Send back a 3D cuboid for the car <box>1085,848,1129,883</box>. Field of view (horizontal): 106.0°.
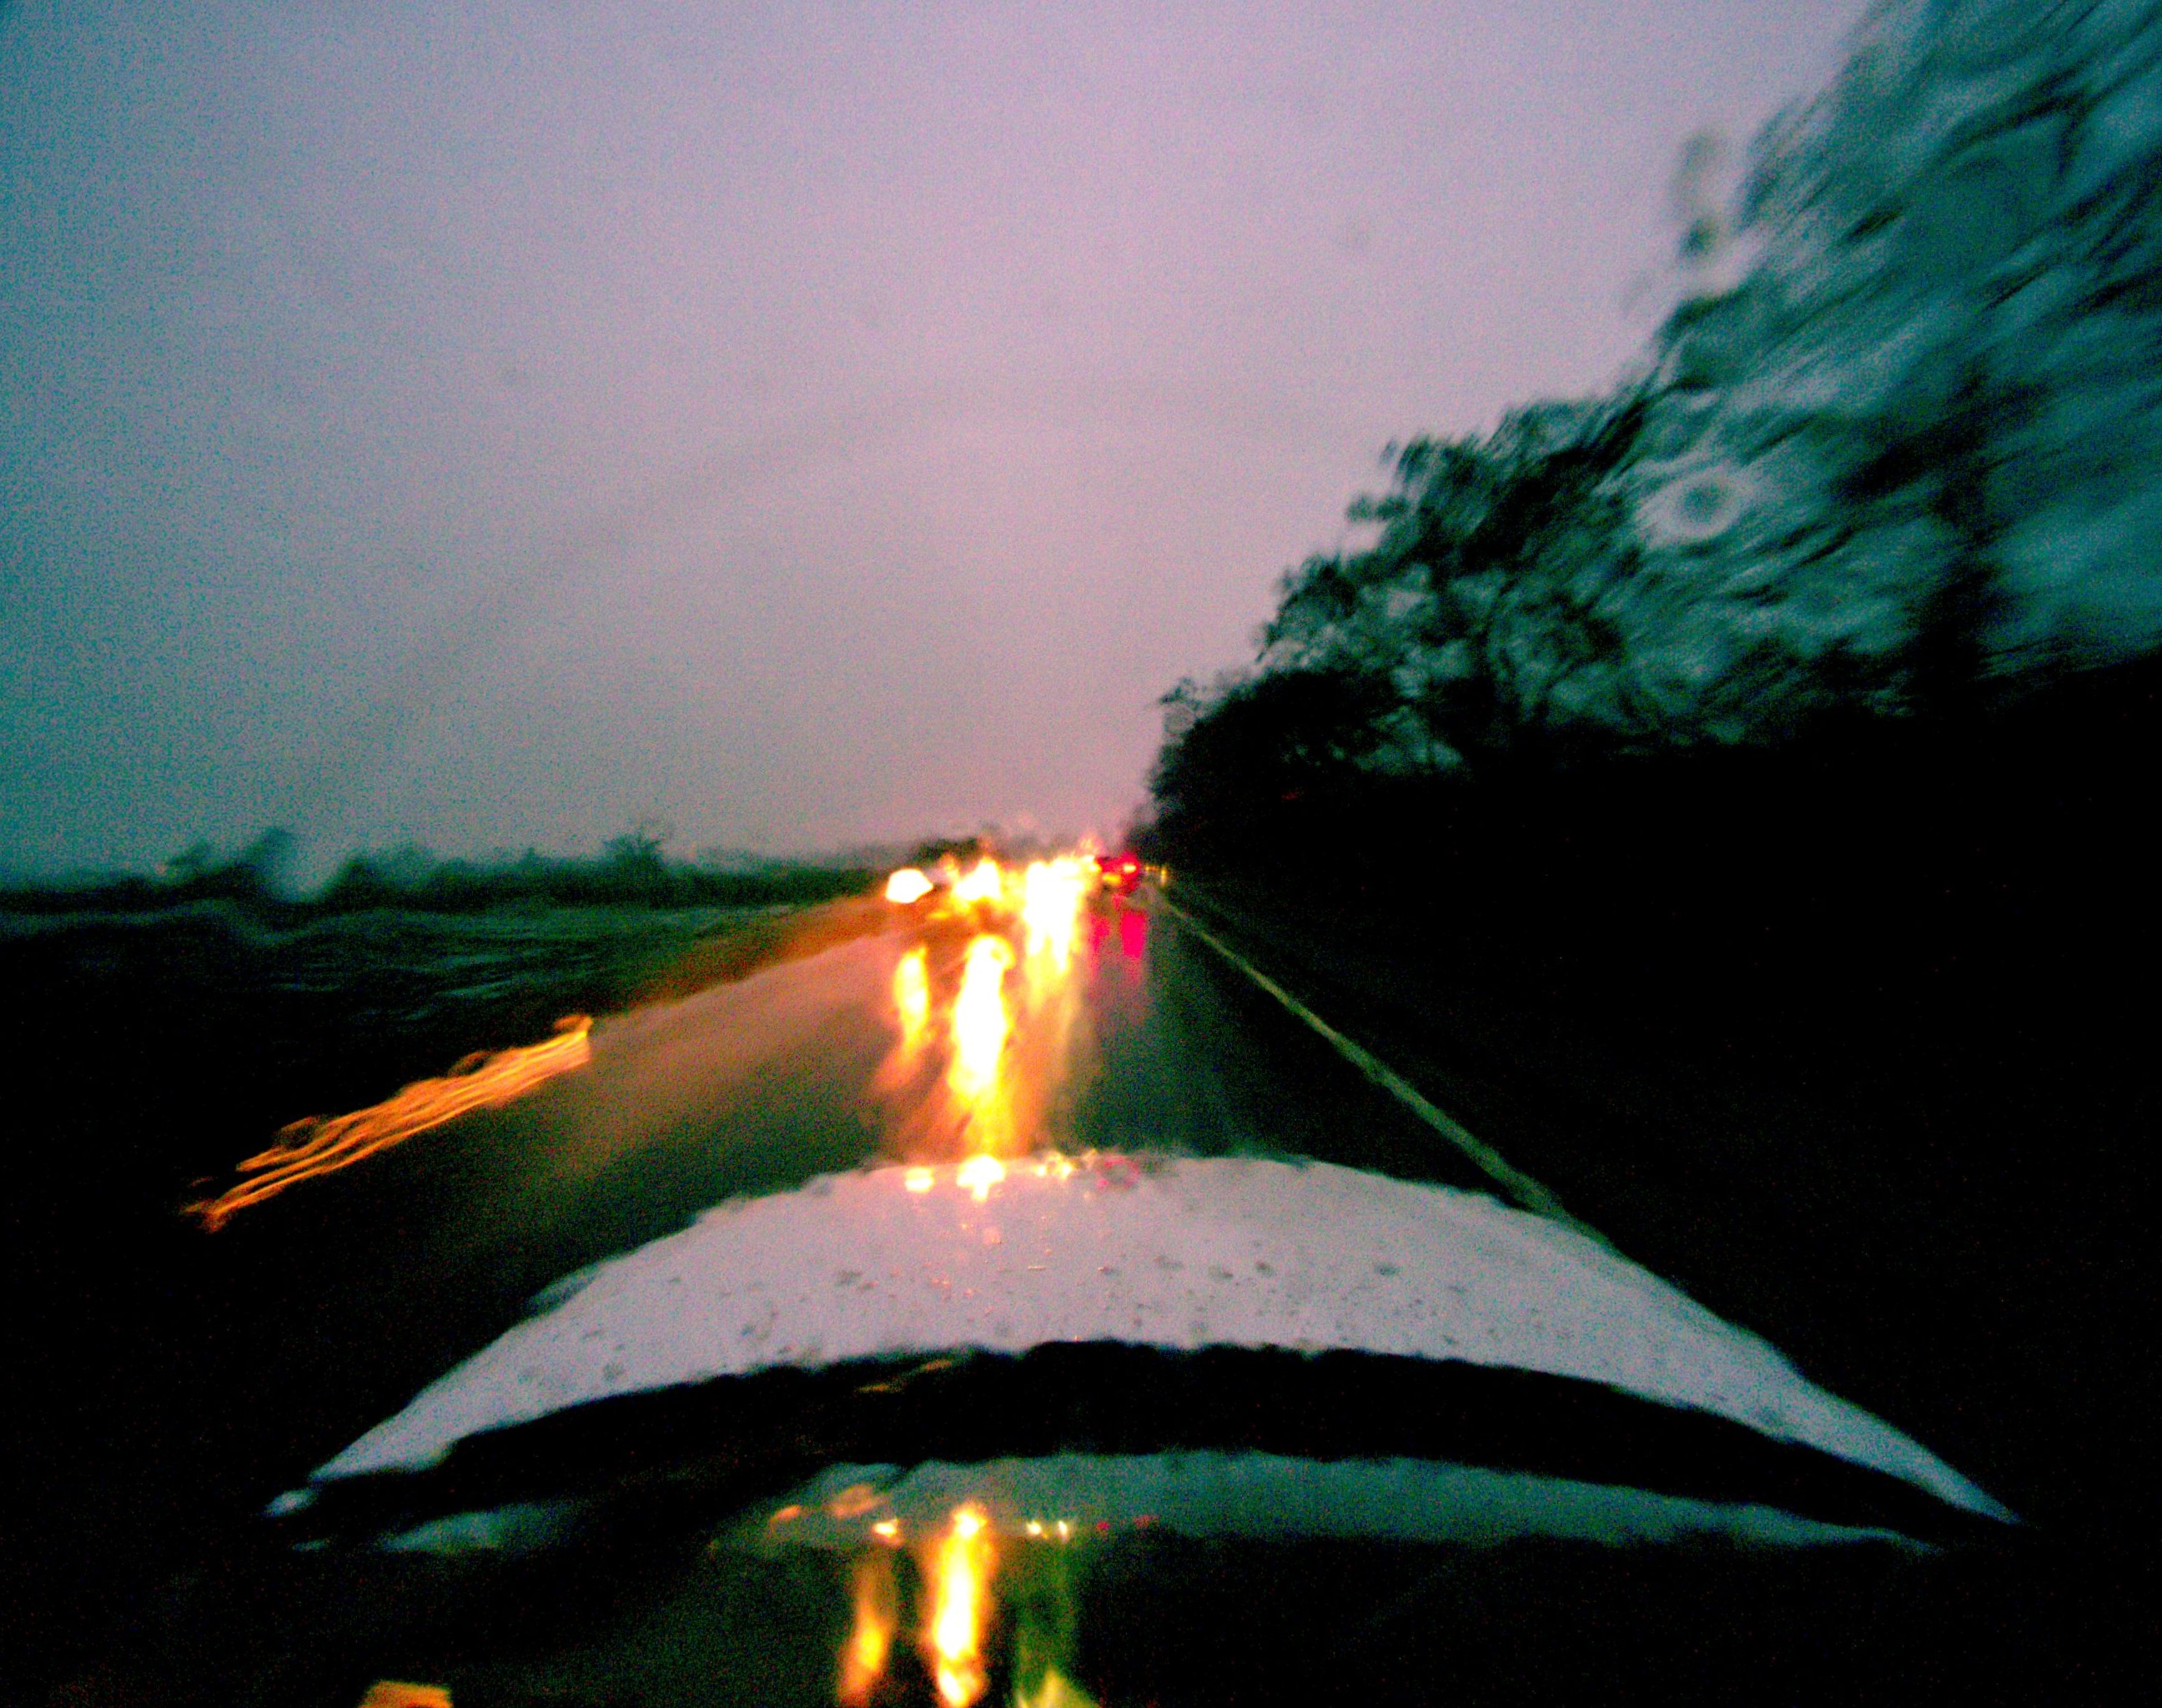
[{"bbox_3d":[1.628,0.679,50.424,2.581,2.014,5.808,0,0,2],"label":"car"}]

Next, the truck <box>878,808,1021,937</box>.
[{"bbox_3d":[-3.113,0.411,21.153,2.261,2.634,7.036,-4,0,1],"label":"truck"}]

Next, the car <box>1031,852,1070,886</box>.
[{"bbox_3d":[-1.782,0.875,48.415,1.986,1.823,4.001,-4,0,1],"label":"car"}]

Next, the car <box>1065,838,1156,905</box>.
[{"bbox_3d":[1.052,0.552,28.217,2.809,2.077,5.808,0,0,2],"label":"car"}]

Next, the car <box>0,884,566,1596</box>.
[{"bbox_3d":[-3.149,0.891,1.474,1.722,1.413,4.024,-4,0,1],"label":"car"}]
